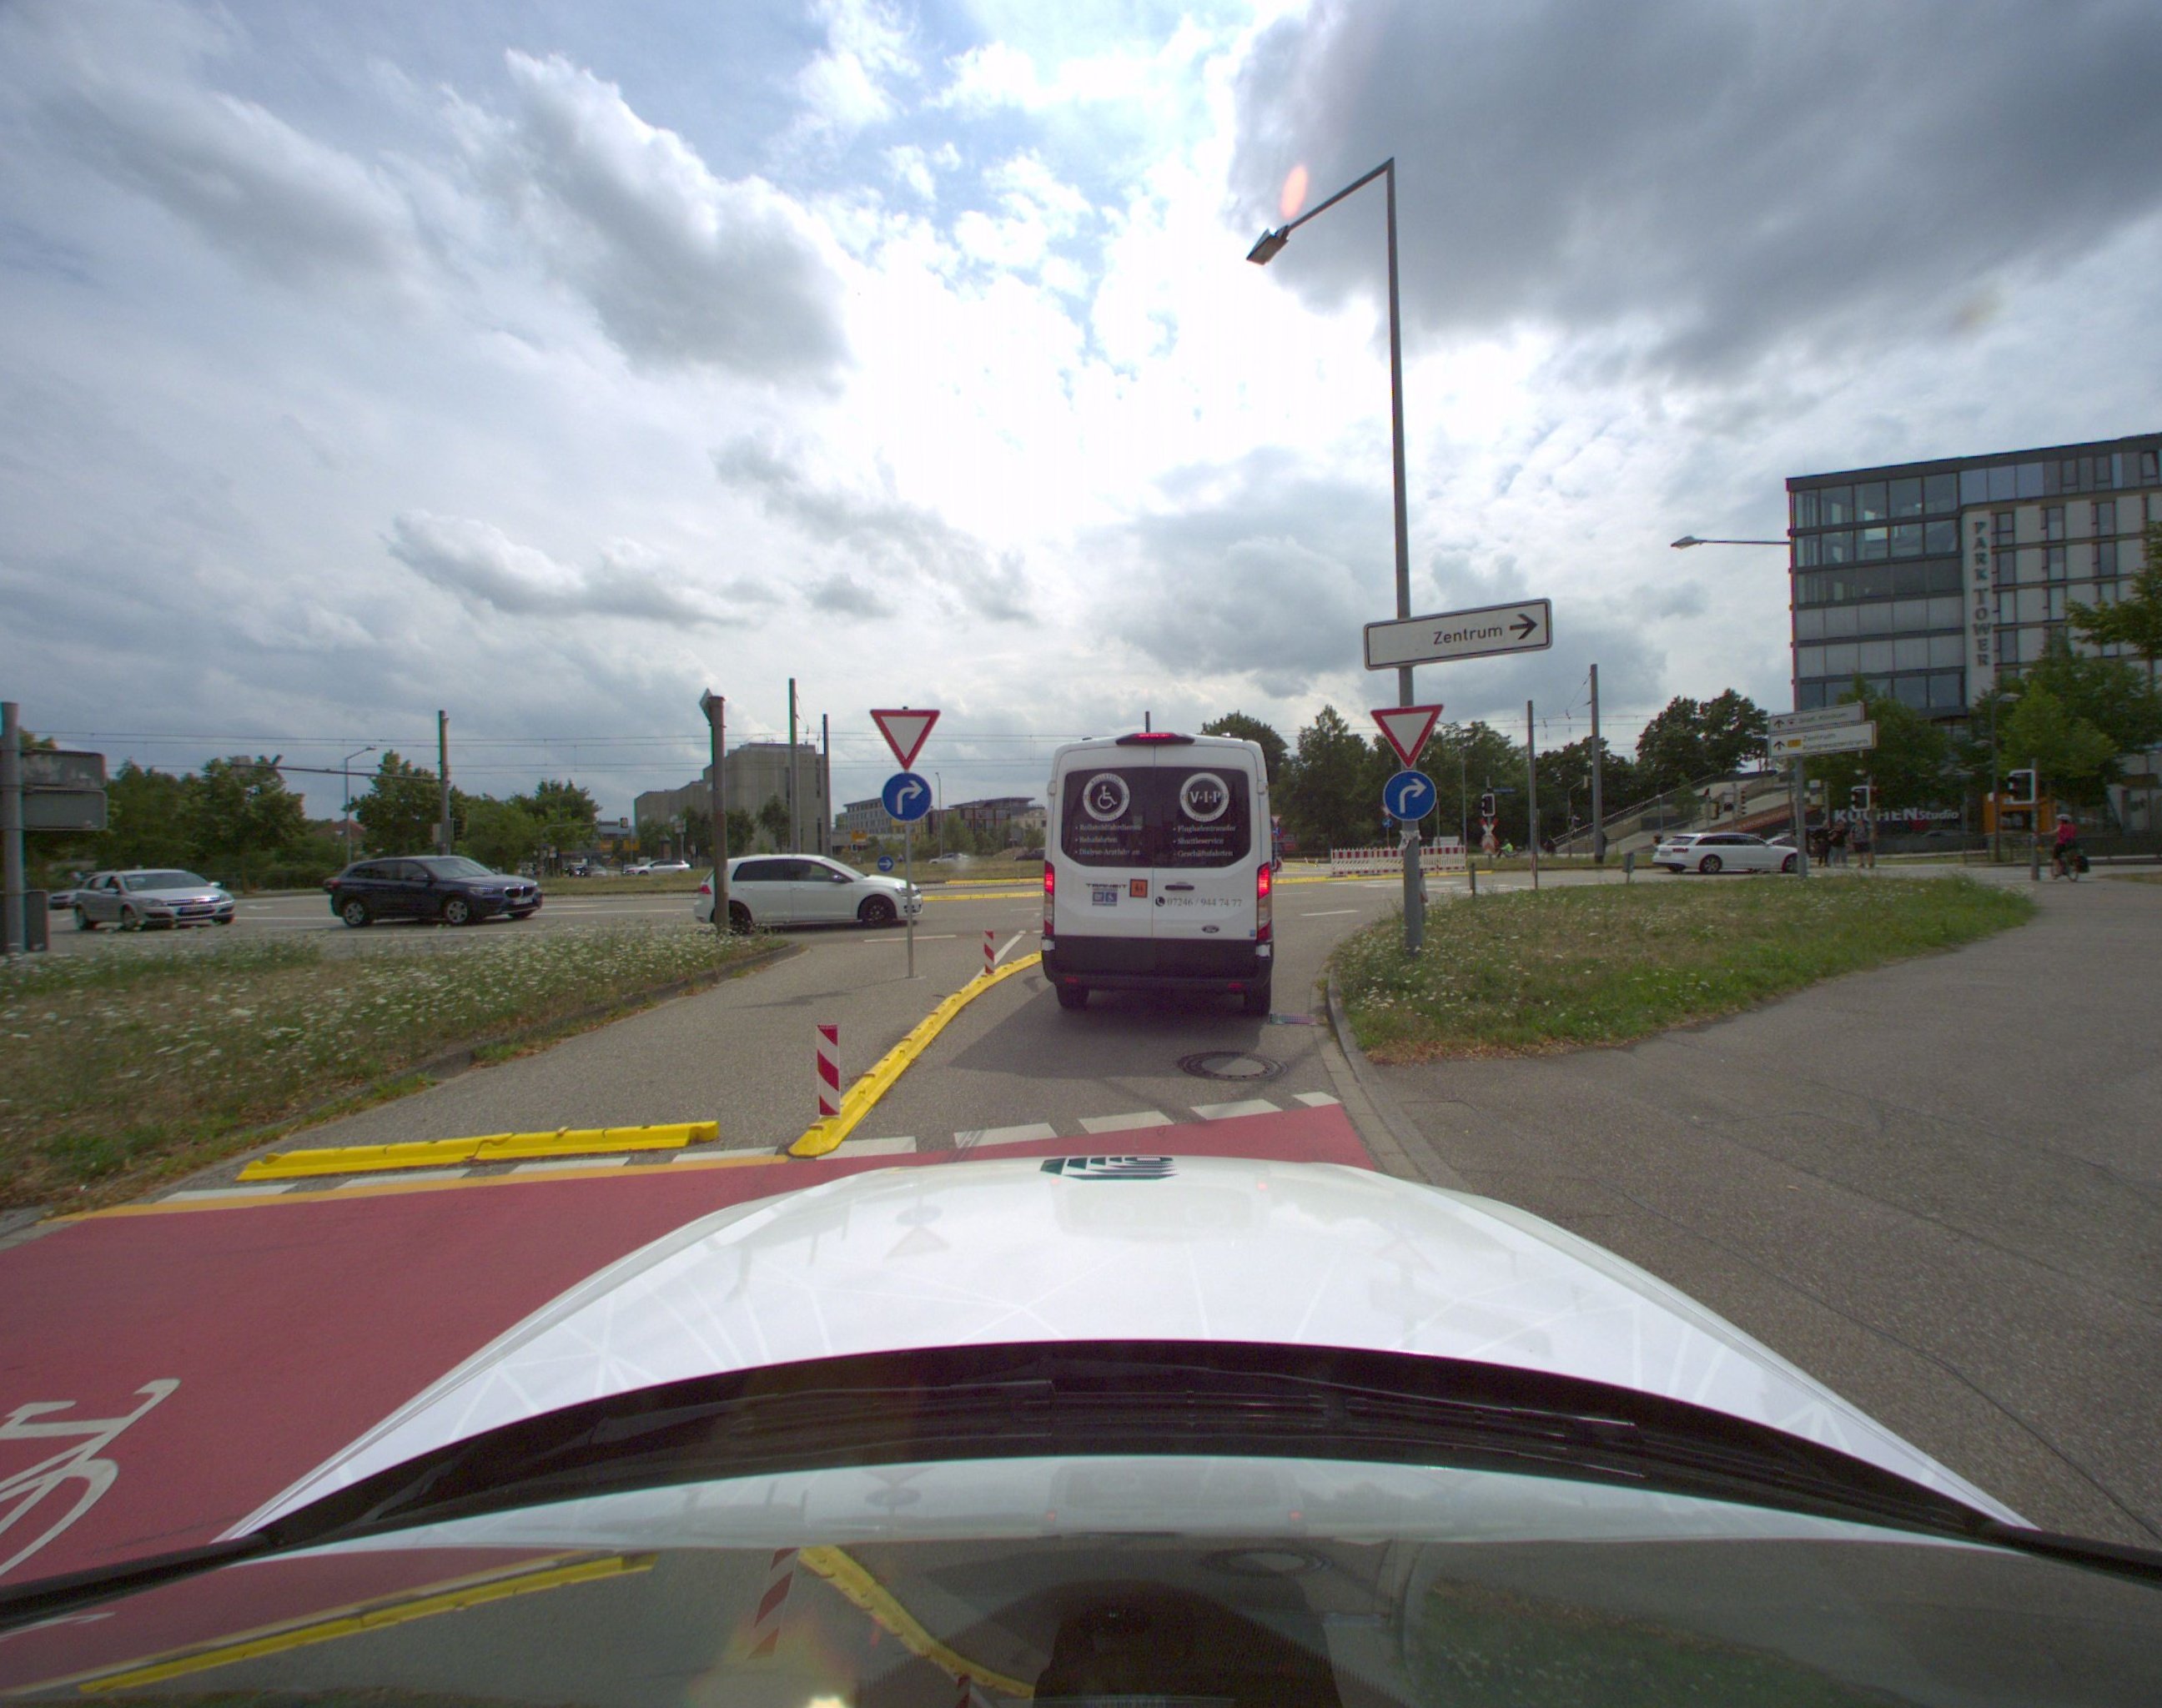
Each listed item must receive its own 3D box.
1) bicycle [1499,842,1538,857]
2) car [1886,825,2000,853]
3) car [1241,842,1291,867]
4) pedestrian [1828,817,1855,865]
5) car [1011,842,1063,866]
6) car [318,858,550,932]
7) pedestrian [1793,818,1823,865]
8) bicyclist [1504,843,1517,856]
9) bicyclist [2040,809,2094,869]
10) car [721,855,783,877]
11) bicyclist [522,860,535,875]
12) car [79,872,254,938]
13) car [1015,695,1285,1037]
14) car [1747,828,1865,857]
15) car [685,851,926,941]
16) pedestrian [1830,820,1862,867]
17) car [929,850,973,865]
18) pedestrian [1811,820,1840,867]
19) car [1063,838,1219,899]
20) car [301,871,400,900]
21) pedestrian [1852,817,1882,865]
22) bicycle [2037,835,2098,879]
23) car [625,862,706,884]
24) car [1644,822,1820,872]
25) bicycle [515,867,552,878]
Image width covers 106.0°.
[{"bbox_3d":[28.737,-0.277,53.509,2.176,0.938,0.618,-2,-2,41],"label":"bicycle"},{"bbox_3d":[47.814,-0.826,45.273,3.957,1.458,1.857,-1,1,16],"label":"car"},{"bbox_3d":[13.947,0.066,61.554,1.997,1.750,3.979,-1,-1,-15],"label":"car"},{"bbox_3d":[29.800,-0.512,31.898,0.526,1.862,0.554,-1,0,8],"label":"pedestrian"},{"bbox_3d":[-3.767,0.036,70.071,3.953,2.014,2.010,-1,-1,21],"label":"car"},{"bbox_3d":[-15.002,0.933,18.978,4.330,1.534,1.738,-2,0,10],"label":"car"},{"bbox_3d":[28.446,-0.483,31.866,0.684,1.781,0.554,-1,0,8],"label":"pedestrian"},{"bbox_3d":[28.391,-0.285,53.811,0.650,0.884,0.611,-2,-2,40],"label":"bicyclist"},{"bbox_3d":[27.525,-0.411,22.748,0.781,1.627,1.055,-2,0,42],"label":"bicyclist"},{"bbox_3d":[-27.386,0.990,67.900,4.380,1.665,1.915,-2,0,-43],"label":"car"},{"bbox_3d":[-50.445,1.224,74.382,0.853,1.409,0.678,-2,0,38],"label":"bicyclist"},{"bbox_3d":[-23.164,1.244,20.624,4.207,1.462,1.841,-1,0,26],"label":"car"},{"bbox_3d":[1.033,0.103,9.366,2.113,2.697,5.648,-2,0,10],"label":"car"},{"bbox_3d":[41.123,-0.654,46.292,4.687,1.458,1.856,-1,1,15],"label":"car"},{"bbox_3d":[-5.253,0.755,16.070,4.251,1.497,1.794,-2,0,-13],"label":"car"},{"bbox_3d":[29.259,-0.395,31.153,0.684,1.781,0.554,-1,0,8],"label":"pedestrian"},{"bbox_3d":[-13.175,0.329,82.766,3.959,1.464,1.840,-1,-1,13],"label":"car"},{"bbox_3d":[29.127,-0.415,31.873,0.627,1.781,0.554,-1,0,8],"label":"pedestrian"},{"bbox_3d":[1.723,0.355,22.851,4.133,1.497,1.783,-2,0,-34],"label":"car"},{"bbox_3d":[-46.020,1.952,51.454,2.050,1.551,4.477,-2,0,2],"label":"car"},{"bbox_3d":[29.916,-0.498,31.005,0.575,1.781,0.554,-1,0,8],"label":"pedestrian"},{"bbox_3d":[27.651,0.062,22.859,0.781,1.168,2.054,-2,0,42],"label":"bicycle"},{"bbox_3d":[-32.170,1.412,63.186,5.213,1.482,1.976,-2,0,-43],"label":"car"},{"bbox_3d":[23.379,-0.256,29.377,4.720,1.618,2.000,-2,0,1],"label":"car"},{"bbox_3d":[-50.203,1.707,74.669,0.853,0.855,2.676,-2,0,38],"label":"bicycle"}]
